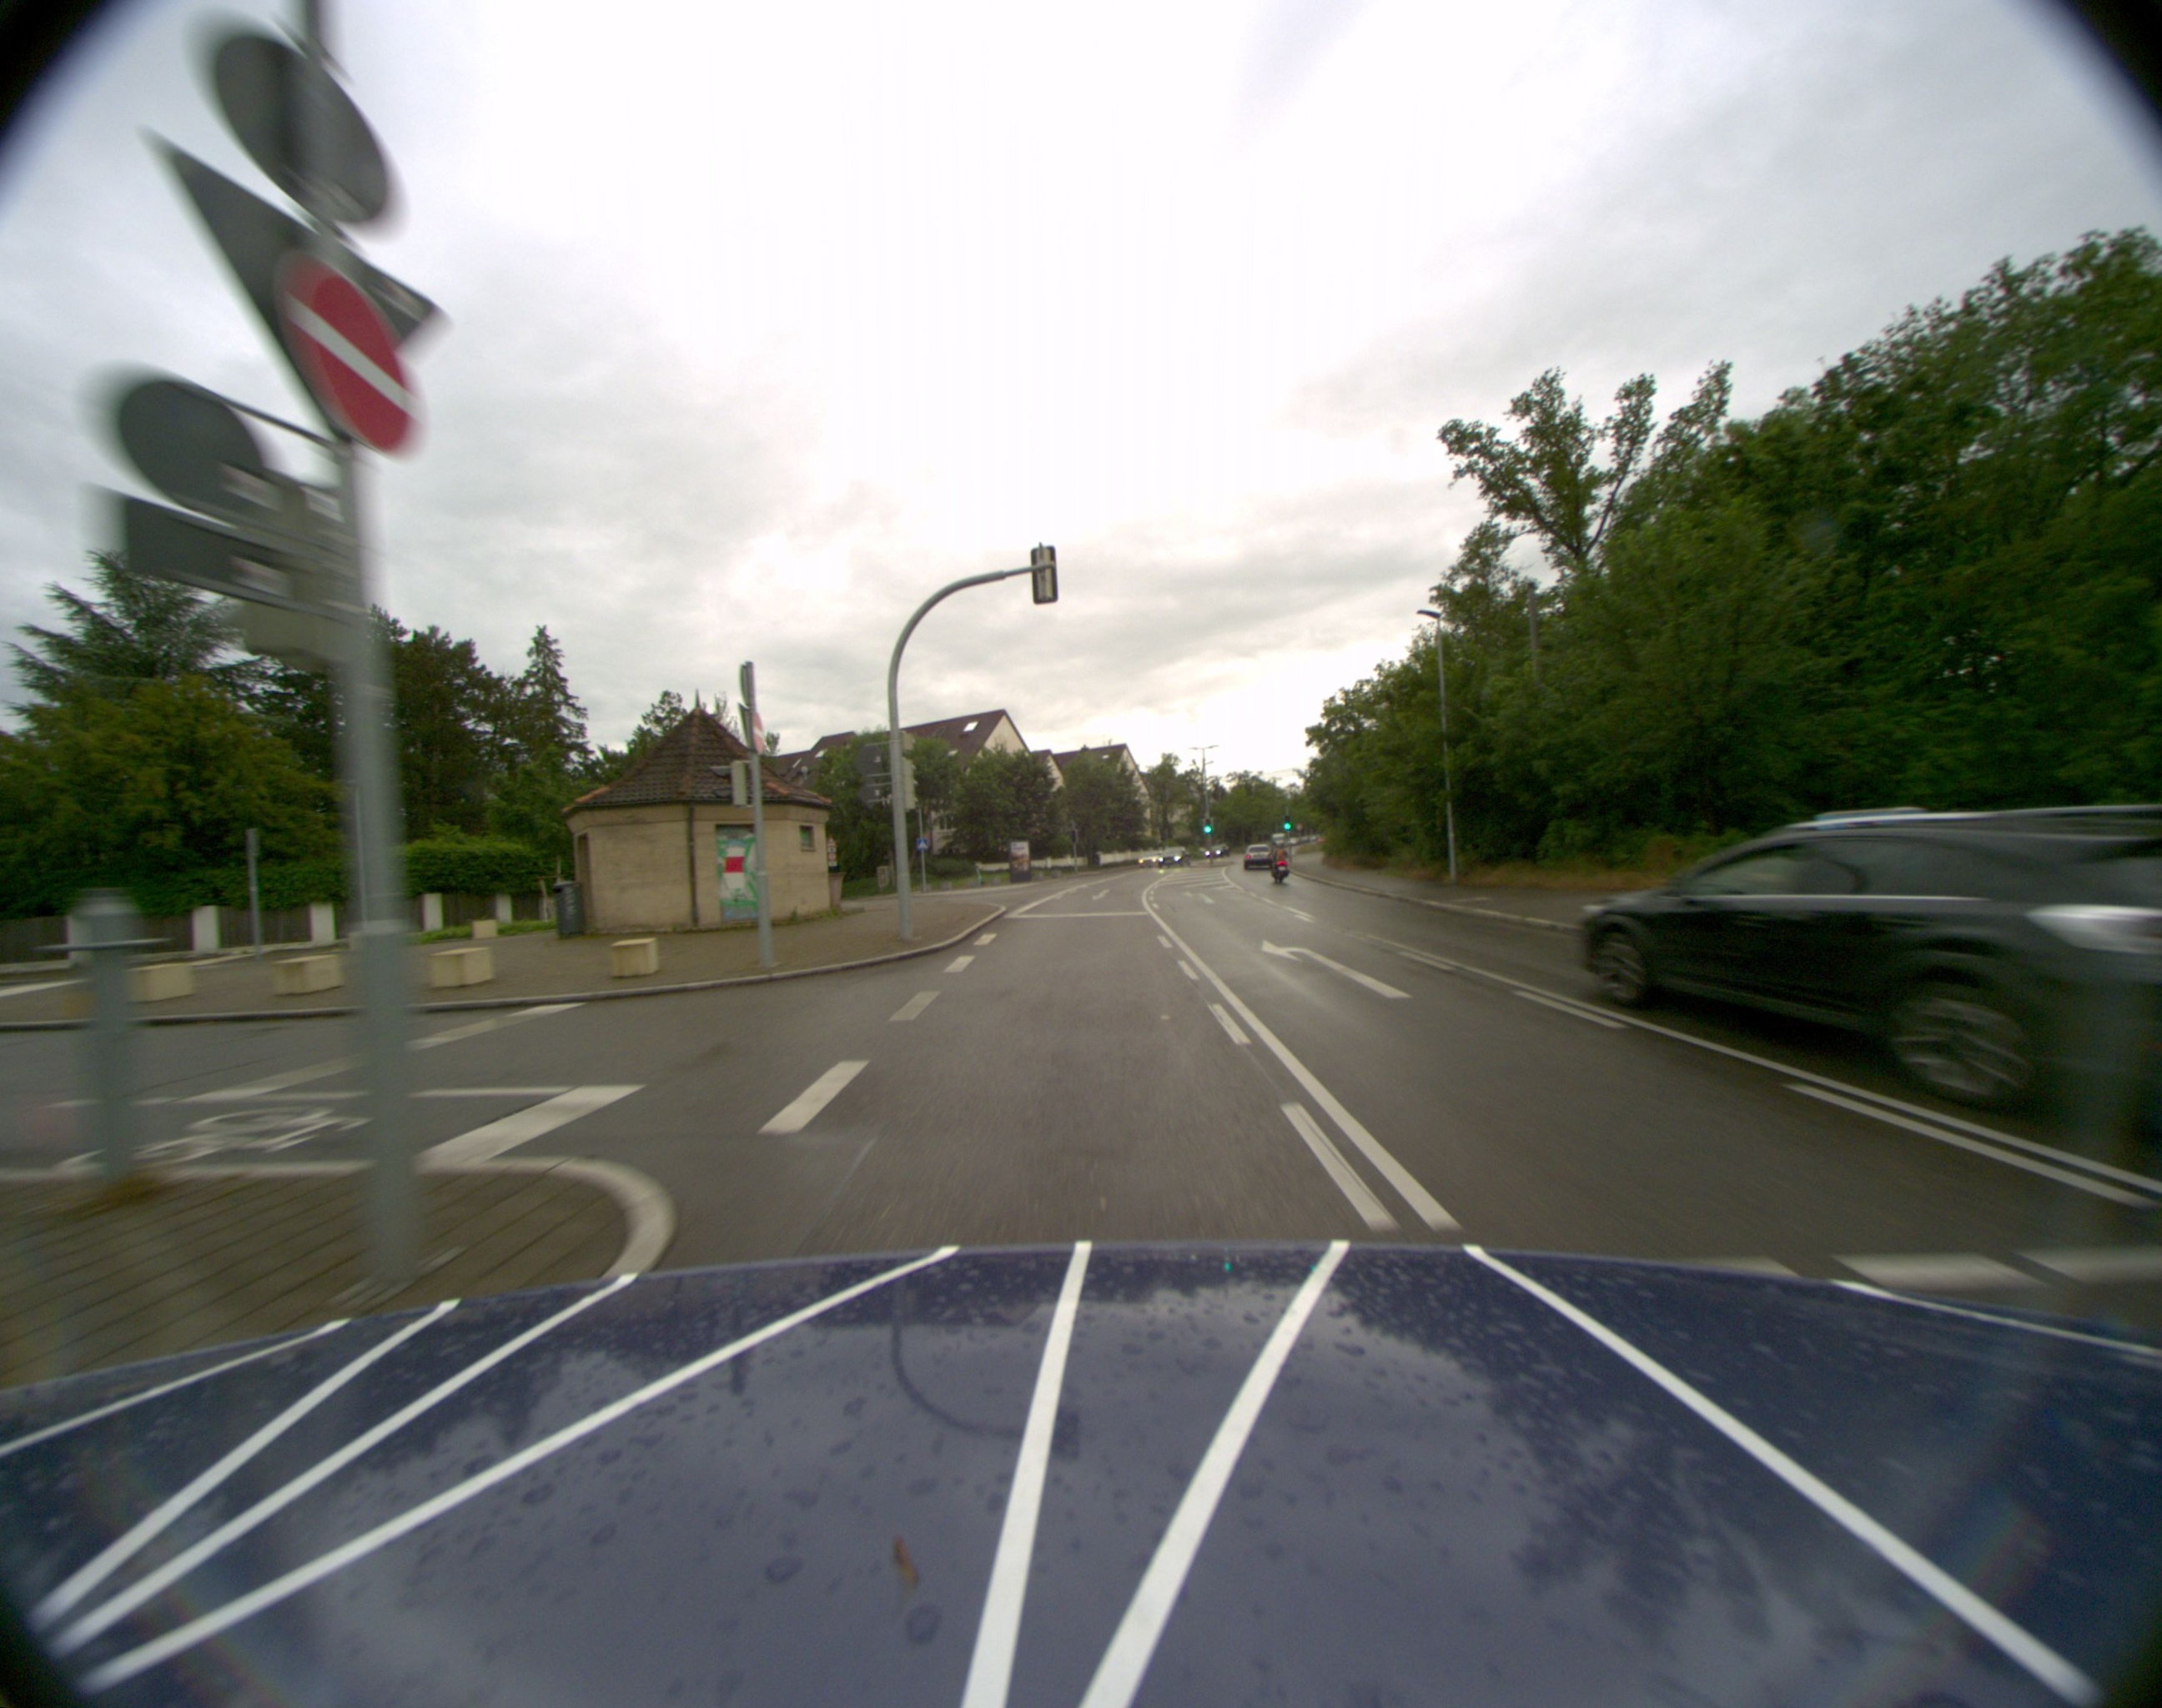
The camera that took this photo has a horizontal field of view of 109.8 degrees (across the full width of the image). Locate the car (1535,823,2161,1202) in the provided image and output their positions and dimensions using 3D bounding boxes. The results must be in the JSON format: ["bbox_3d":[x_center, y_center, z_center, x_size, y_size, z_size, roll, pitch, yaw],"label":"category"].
[{"bbox_3d":[5.464,0.641,5.320,1.793,1.572,4.561,-3,0,0],"label":"car"}]

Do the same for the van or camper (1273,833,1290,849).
[{"bbox_3d":[33.985,-2.154,128.659,1.996,2.438,4.728,-4,1,24],"label":"van or camper"}]

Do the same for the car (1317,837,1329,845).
[{"bbox_3d":[43.265,-2.370,135.614,1.942,1.368,4.609,-2,1,18],"label":"car"}]

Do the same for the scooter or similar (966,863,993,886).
[{"bbox_3d":[-5.987,1.197,44.662,1.350,1.200,0.525,-6,1,15],"label":"scooter or similar"}]

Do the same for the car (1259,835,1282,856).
[{"bbox_3d":[16.389,-0.734,65.641,1.578,1.721,3.779,-2,1,18],"label":"car"}]

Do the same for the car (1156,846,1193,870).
[{"bbox_3d":[6.812,0.266,54.954,1.943,1.446,4.608,-3,1,16],"label":"car"}]

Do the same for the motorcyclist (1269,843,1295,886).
[{"bbox_3d":[7.854,0.400,29.696,0.747,1.623,0.927,-3,1,2],"label":"motorcyclist"}]

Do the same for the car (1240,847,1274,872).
[{"bbox_3d":[10.277,0.289,44.583,1.744,1.344,4.212,-2,0,10],"label":"car"}]

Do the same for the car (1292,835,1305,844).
[{"bbox_3d":[42.062,-2.745,146.865,1.942,1.594,4.610,-2,1,21],"label":"car"}]

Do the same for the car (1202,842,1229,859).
[{"bbox_3d":[14.180,-0.432,79.921,1.942,1.594,4.610,-2,1,21],"label":"car"}]

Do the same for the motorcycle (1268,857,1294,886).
[{"bbox_3d":[7.833,0.687,29.801,0.595,1.044,1.999,-3,1,4],"label":"motorcycle"}]

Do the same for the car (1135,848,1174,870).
[{"bbox_3d":[6.083,0.360,62.546,1.942,1.594,4.610,-2,1,21],"label":"car"}]
